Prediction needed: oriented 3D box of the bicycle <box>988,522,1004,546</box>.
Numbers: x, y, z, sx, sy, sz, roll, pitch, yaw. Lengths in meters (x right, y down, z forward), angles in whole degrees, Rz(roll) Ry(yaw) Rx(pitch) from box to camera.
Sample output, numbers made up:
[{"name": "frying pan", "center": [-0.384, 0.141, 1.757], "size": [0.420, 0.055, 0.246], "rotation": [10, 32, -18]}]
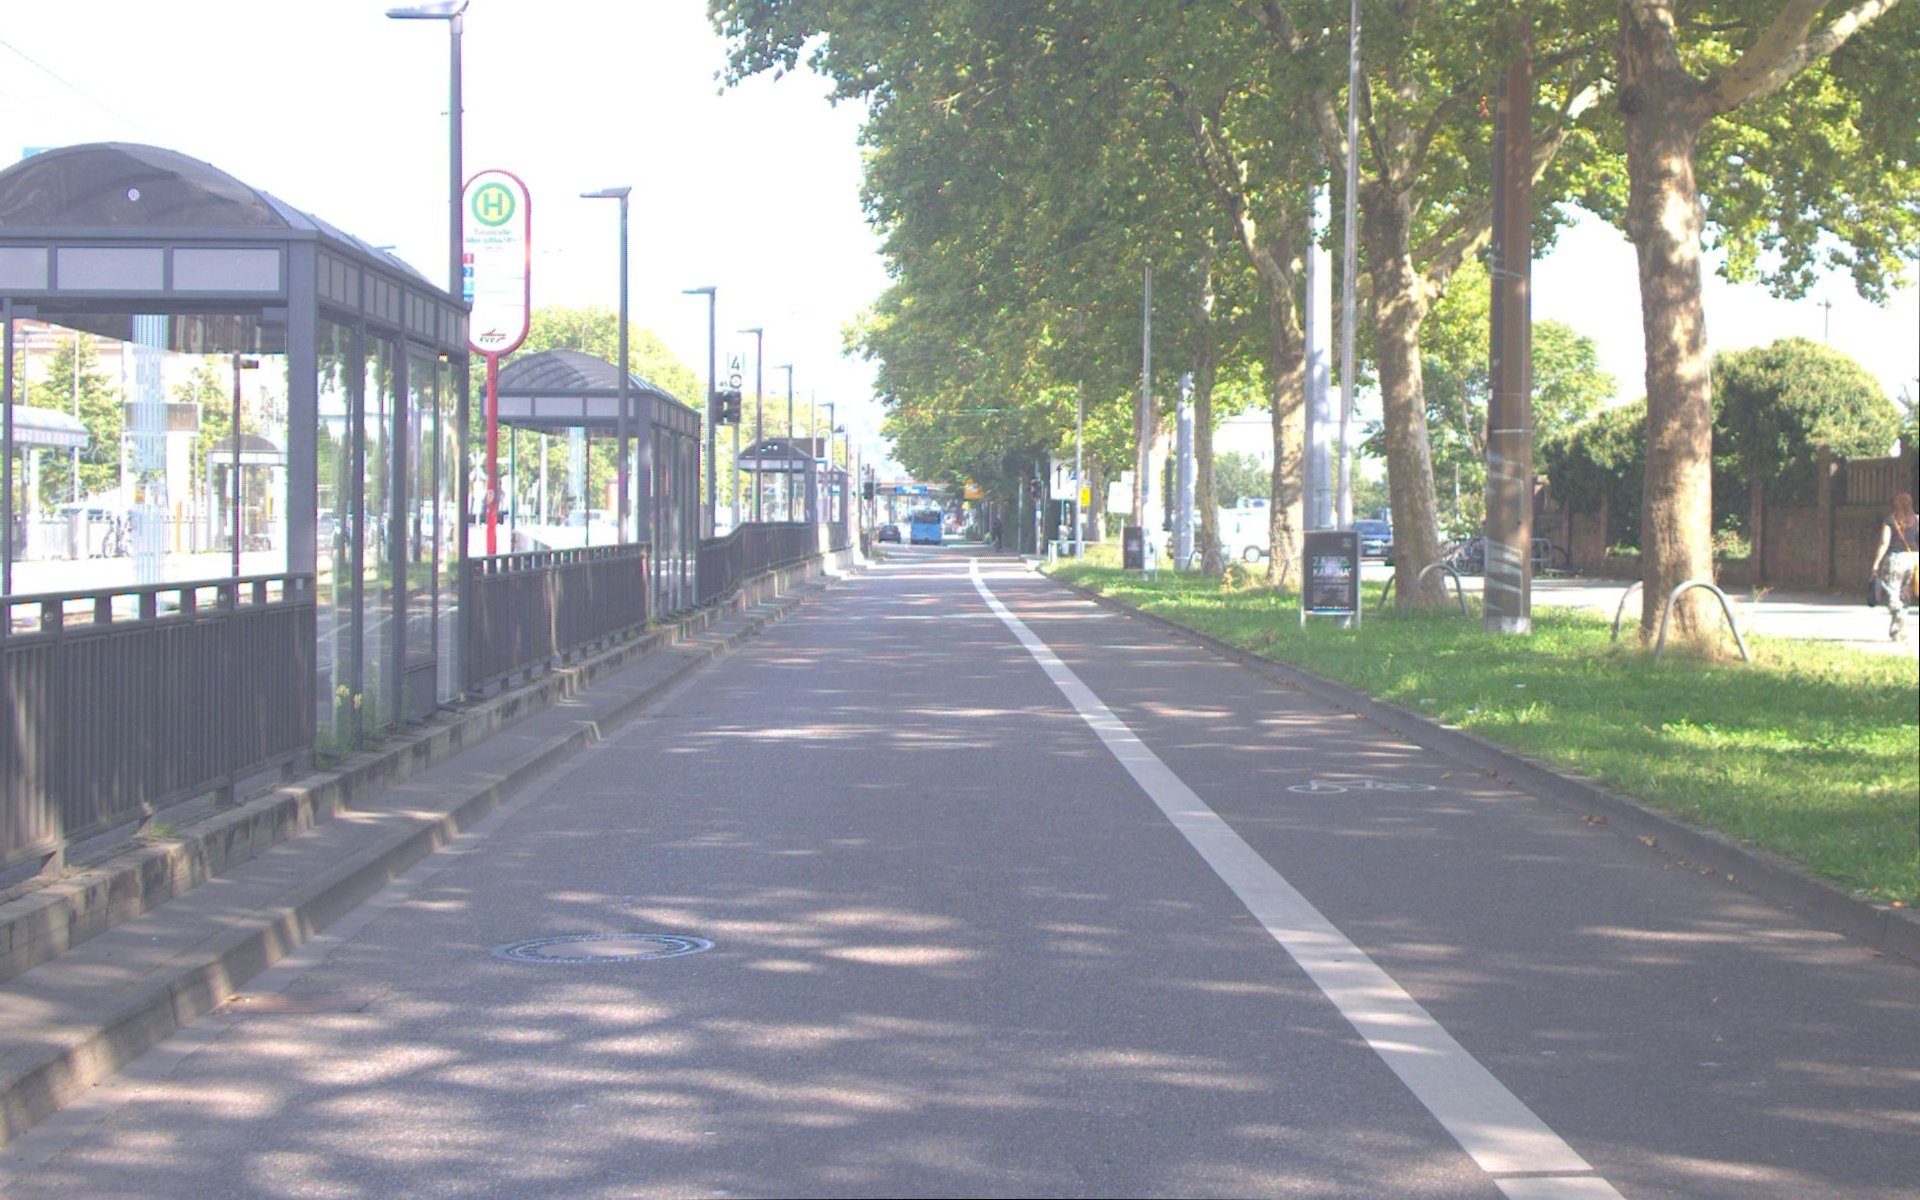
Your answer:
[{"name": "bicycle", "center": [1.675, -3.080, 160.174], "size": [0.715, 1.104, 2.509], "rotation": [1, 1, 0]}]

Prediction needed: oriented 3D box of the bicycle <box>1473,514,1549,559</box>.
[{"name": "bicycle", "center": [12.485, -1.435, 77.963], "size": [1.656, 0.966, 0.506], "rotation": [-1, 1, 5]}]

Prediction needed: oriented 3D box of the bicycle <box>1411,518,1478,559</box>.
[{"name": "bicycle", "center": [11.763, -1.497, 83.455], "size": [0.505, 0.966, 1.661], "rotation": [-3, 2, -42]}]

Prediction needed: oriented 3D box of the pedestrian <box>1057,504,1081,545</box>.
[{"name": "pedestrian", "center": [4.381, -3.044, 138.247], "size": [0.626, 1.612, 0.843], "rotation": [1, 2, 37]}]

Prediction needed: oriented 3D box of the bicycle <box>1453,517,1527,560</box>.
[{"name": "bicycle", "center": [12.481, -1.444, 80.966], "size": [1.656, 0.966, 0.506], "rotation": [-1, 1, 5]}]

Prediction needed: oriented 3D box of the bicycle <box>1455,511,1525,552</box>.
[{"name": "bicycle", "center": [13.201, -1.705, 85.609], "size": [1.656, 0.966, 0.506], "rotation": [-1, 1, 2]}]

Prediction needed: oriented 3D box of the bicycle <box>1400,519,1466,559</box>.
[{"name": "bicycle", "center": [11.653, -1.504, 84.670], "size": [0.505, 0.966, 1.661], "rotation": [-3, 2, -42]}]

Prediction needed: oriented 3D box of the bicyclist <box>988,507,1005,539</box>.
[{"name": "bicyclist", "center": [1.700, -3.572, 160.240], "size": [0.705, 1.456, 1.009], "rotation": [1, 1, 0]}]

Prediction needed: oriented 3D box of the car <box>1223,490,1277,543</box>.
[{"name": "car", "center": [11.378, -3.295, 135.159], "size": [1.722, 2.041, 4.462], "rotation": [0, 1, 0]}]

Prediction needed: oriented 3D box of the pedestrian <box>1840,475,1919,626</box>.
[{"name": "pedestrian", "center": [10.245, -0.549, 37.930], "size": [0.806, 1.630, 0.947], "rotation": [-1, 1, 0]}]

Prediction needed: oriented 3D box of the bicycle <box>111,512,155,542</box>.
[{"name": "bicycle", "center": [-18.325, -1.614, 76.192], "size": [0.477, 0.660, 1.613], "rotation": [0, 2, 4]}]
